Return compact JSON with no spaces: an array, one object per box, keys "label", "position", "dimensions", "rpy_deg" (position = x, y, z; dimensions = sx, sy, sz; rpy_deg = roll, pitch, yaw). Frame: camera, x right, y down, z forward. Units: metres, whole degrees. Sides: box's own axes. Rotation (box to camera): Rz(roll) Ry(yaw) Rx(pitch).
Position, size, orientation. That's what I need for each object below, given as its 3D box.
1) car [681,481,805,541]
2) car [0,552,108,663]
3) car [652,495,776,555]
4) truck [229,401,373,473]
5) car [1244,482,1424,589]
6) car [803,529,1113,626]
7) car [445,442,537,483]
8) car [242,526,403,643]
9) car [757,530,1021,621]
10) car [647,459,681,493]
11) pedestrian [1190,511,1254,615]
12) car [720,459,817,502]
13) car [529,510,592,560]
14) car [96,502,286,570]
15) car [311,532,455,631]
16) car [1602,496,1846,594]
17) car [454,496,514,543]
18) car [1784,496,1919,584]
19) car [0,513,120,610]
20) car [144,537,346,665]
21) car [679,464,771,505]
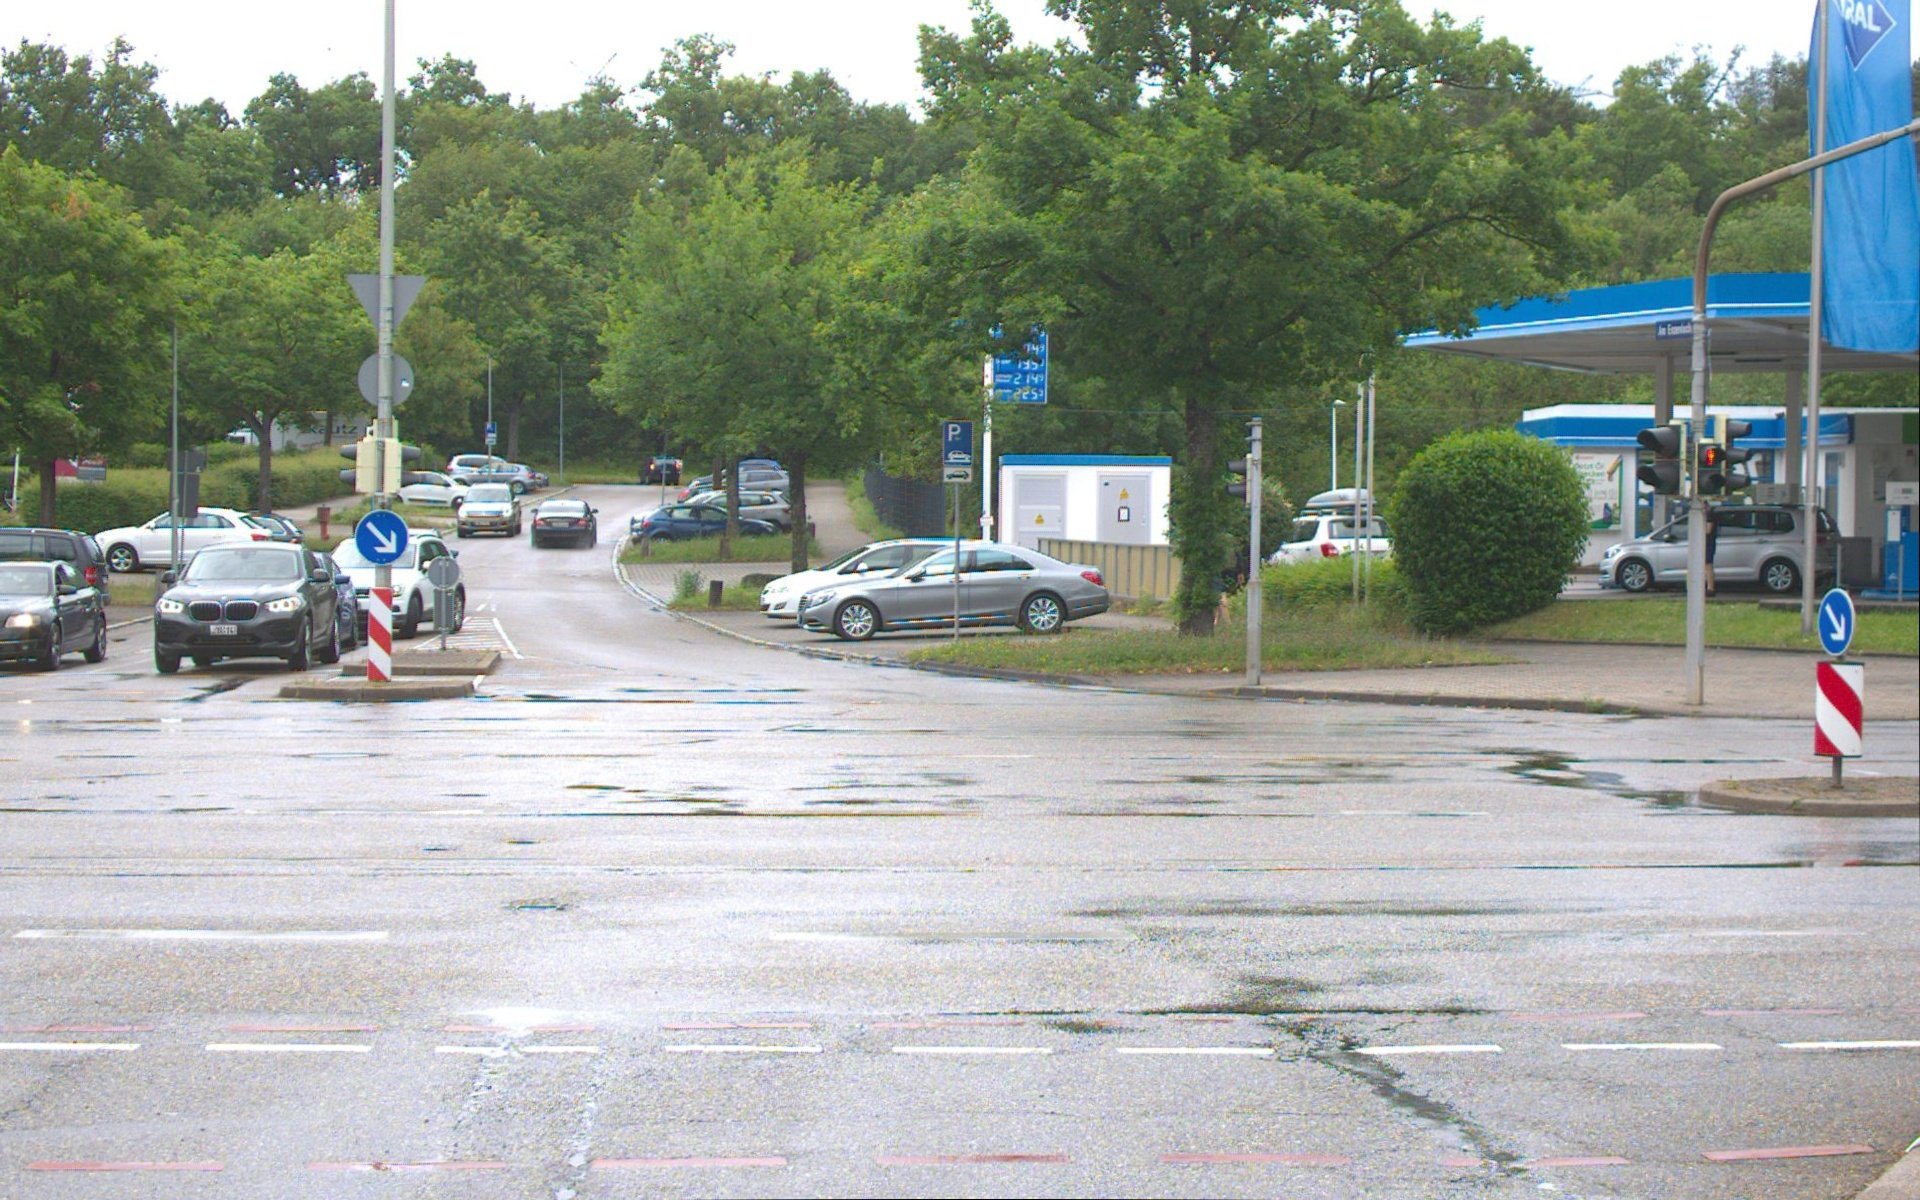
[{"label":"car","position":[-6.588,-2.689,104.298],"dimensions":[3.697,1.744,1.697],"rpy_deg":[1,0,-5]},{"label":"car","position":[-12.480,0.067,45.219],"dimensions":[1.782,1.399,4.001],"rpy_deg":[0,1,-4]},{"label":"car","position":[-6.998,-2.120,97.664],"dimensions":[3.459,1.649,1.616],"rpy_deg":[1,0,-5]},{"label":"truck","position":[-36.374,-9.004,189.825],"dimensions":[7.367,3.847,2.778],"rpy_deg":[0,1,3]},{"label":"car","position":[6.530,-1.126,60.392],"dimensions":[1.808,1.791,3.701],"rpy_deg":[1,1,-17]},{"label":"car","position":[-0.063,-0.374,56.478],"dimensions":[4.885,1.543,2.000],"rpy_deg":[0,1,-7]},{"label":"car","position":[-21.342,-6.247,156.548],"dimensions":[3.986,1.788,1.856],"rpy_deg":[0,0,-2]},{"label":"car","position":[-9.237,-0.229,50.085],"dimensions":[1.795,1.627,4.552],"rpy_deg":[0,0,-4]},{"label":"car","position":[-1.299,-0.439,61.696],"dimensions":[4.571,1.583,1.930],"rpy_deg":[0,1,-7]},{"label":"car","position":[-15.821,-6.624,183.688],"dimensions":[1.804,1.733,4.001],"rpy_deg":[0,1,-5]},{"label":"pedestrian","position":[4.178,-0.594,54.947],"dimensions":[0.808,1.656,0.887],"rpy_deg":[0,0,-11]},{"label":"car","position":[-8.051,-5.002,144.298],"dimensions":[3.986,1.733,1.811],"rpy_deg":[0,1,-6]},{"label":"car","position":[-11.986,-1.948,103.327],"dimensions":[1.807,1.477,3.752],"rpy_deg":[0,1,-6]},{"label":"car","position":[-18.589,-1.549,83.203],"dimensions":[4.271,1.604,1.685],"rpy_deg":[0,1,-3]},{"label":"car","position":[-9.309,-0.308,55.691],"dimensions":[1.895,1.548,4.001],"rpy_deg":[0,1,-4]},{"label":"car","position":[14.455,-1.019,65.095],"dimensions":[4.121,1.801,1.943],"rpy_deg":[0,0,30]},{"label":"car","position":[-15.306,-2.567,110.649],"dimensions":[1.697,1.451,3.673],"rpy_deg":[0,0,-4]},{"label":"car","position":[18.617,-1.190,68.431],"dimensions":[3.993,1.722,1.792],"rpy_deg":[0,1,27]},{"label":"car","position":[-17.126,-0.698,62.038],"dimensions":[3.648,1.718,1.685],"rpy_deg":[0,1,-7]},{"label":"car","position":[-9.088,-0.014,44.038],"dimensions":[1.895,1.548,4.593],"rpy_deg":[0,1,-4]},{"label":"car","position":[-10.397,-5.102,151.727],"dimensions":[3.986,1.733,1.811],"rpy_deg":[0,1,-6]}]
